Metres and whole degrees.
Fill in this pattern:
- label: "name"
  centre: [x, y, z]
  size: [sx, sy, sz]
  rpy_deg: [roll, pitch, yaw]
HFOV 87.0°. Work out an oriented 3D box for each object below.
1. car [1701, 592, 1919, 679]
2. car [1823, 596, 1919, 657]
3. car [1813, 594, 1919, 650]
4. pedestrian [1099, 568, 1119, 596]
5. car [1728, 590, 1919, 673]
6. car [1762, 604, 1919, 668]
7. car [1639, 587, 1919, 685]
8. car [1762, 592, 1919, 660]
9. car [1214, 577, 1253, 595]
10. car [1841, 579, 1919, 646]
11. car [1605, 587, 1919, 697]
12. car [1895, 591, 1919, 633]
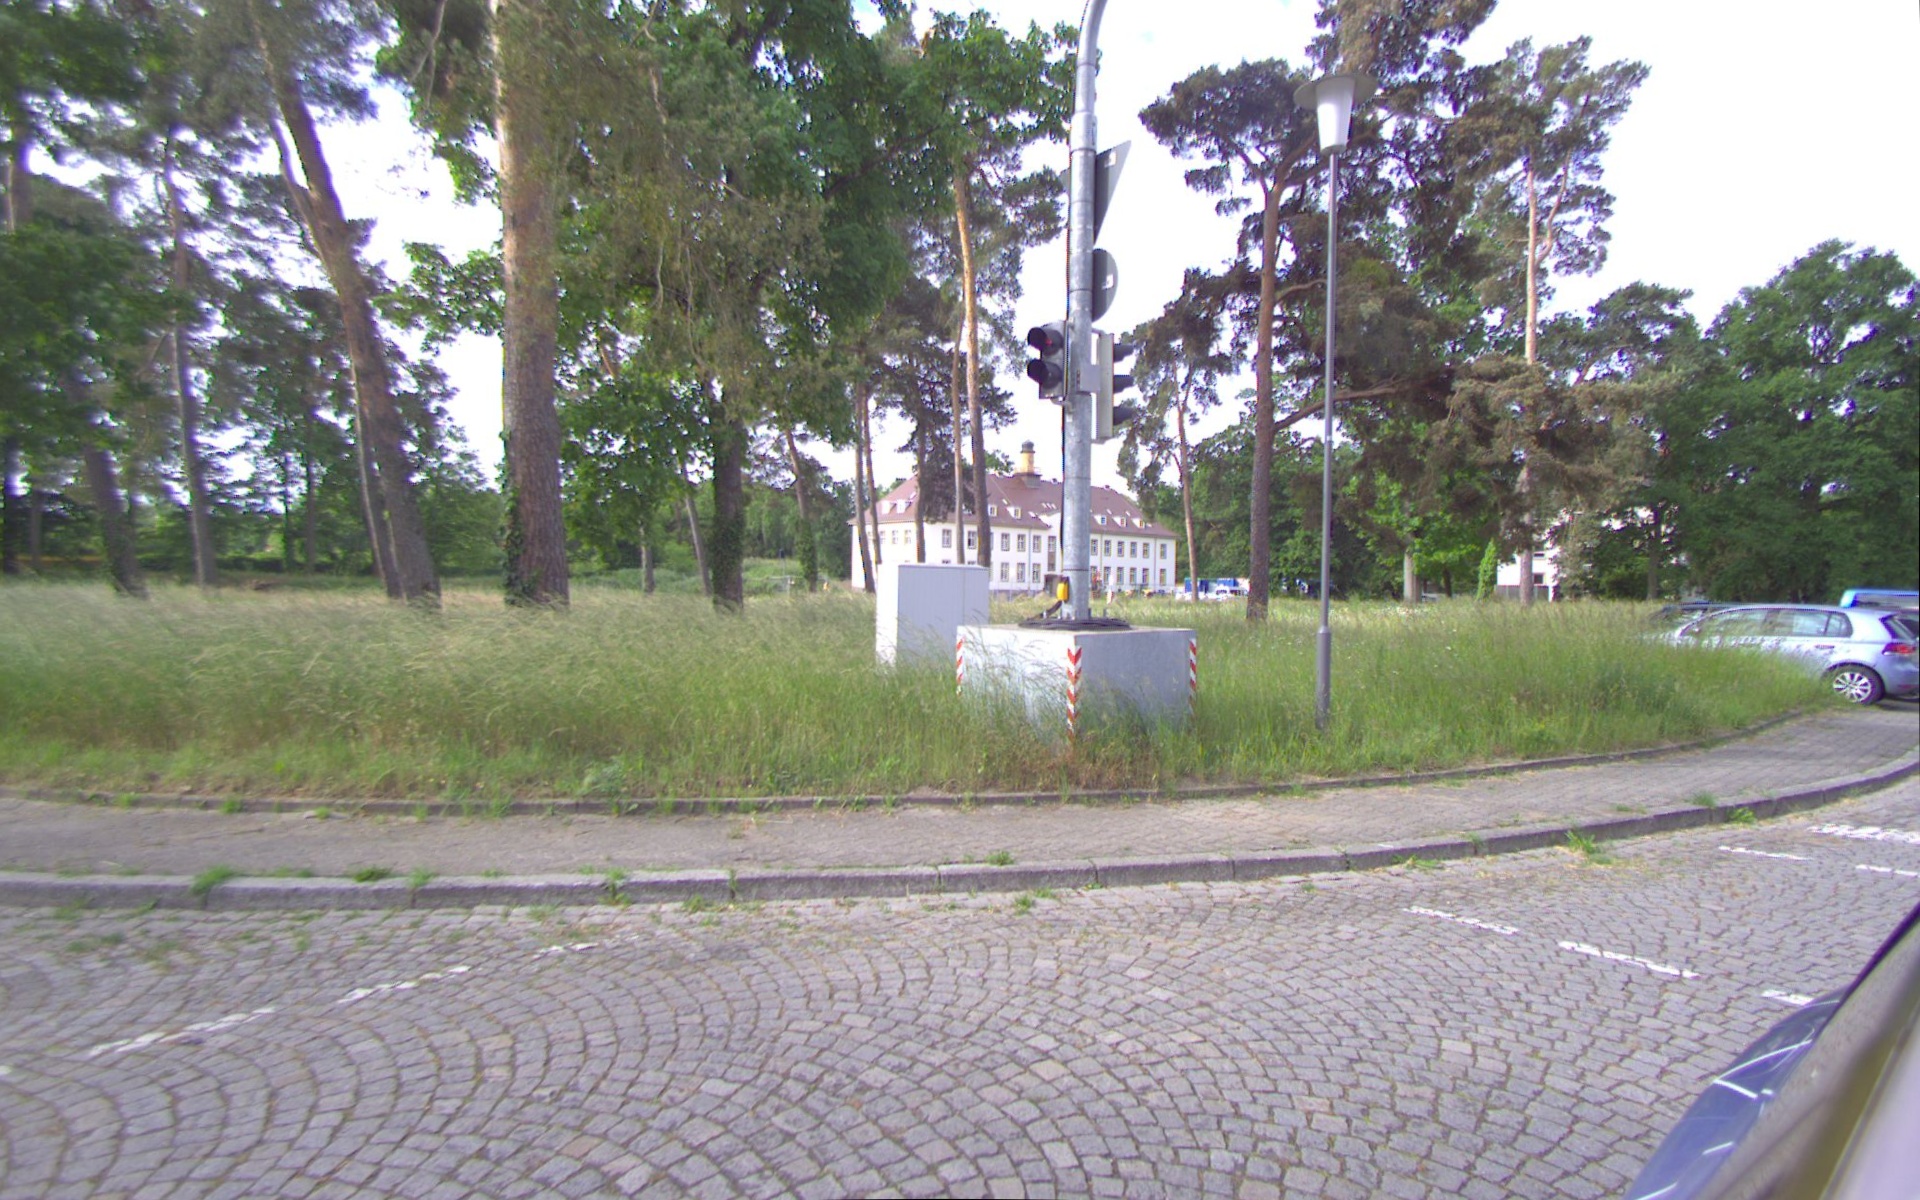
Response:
- label: "car"
  centre: [16.851, 0.629, 19.115]
  size: [1.763, 1.463, 4.268]
  rpy_deg: [0, 1, -37]
- label: "car"
  centre: [24.467, 0.675, 25.479]
  size: [1.765, 1.453, 3.932]
  rpy_deg: [0, 1, -39]
- label: "car"
  centre: [26.246, 0.604, 27.890]
  size: [1.765, 1.467, 3.932]
  rpy_deg: [0, 1, -39]
- label: "pedestrian"
  centre: [12.040, -1.457, 81.639]
  size: [1.037, 2.205, 1.183]
  rpy_deg: [0, 1, -40]
- label: "car"
  centre: [18.433, 0.597, 20.776]
  size: [1.763, 1.531, 3.934]
  rpy_deg: [0, 1, -37]
- label: "car"
  centre: [20.362, 0.788, 22.287]
  size: [1.764, 1.250, 3.933]
  rpy_deg: [0, 1, -39]
- label: "car"
  centre: [14.713, 0.547, 17.506]
  size: [1.765, 1.463, 4.629]
  rpy_deg: [0, 1, -40]
- label: "car"
  centre: [21.922, 0.598, 24.254]
  size: [1.764, 1.494, 3.933]
  rpy_deg: [0, 1, -39]
- label: "car"
  centre: [31.528, -1.627, 116.526]
  size: [4.752, 2.039, 2.163]
  rpy_deg: [0, 1, -42]
- label: "car"
  centre: [30.441, 0.400, 31.027]
  size: [1.962, 2.039, 4.844]
  rpy_deg: [0, 1, -36]
- label: "car"
  centre: [12.720, 0.562, 15.919]
  size: [1.764, 1.436, 3.997]
  rpy_deg: [0, 1, -39]
- label: "car"
  centre: [36.973, 0.487, 36.894]
  size: [1.835, 1.523, 3.998]
  rpy_deg: [0, 1, -38]
